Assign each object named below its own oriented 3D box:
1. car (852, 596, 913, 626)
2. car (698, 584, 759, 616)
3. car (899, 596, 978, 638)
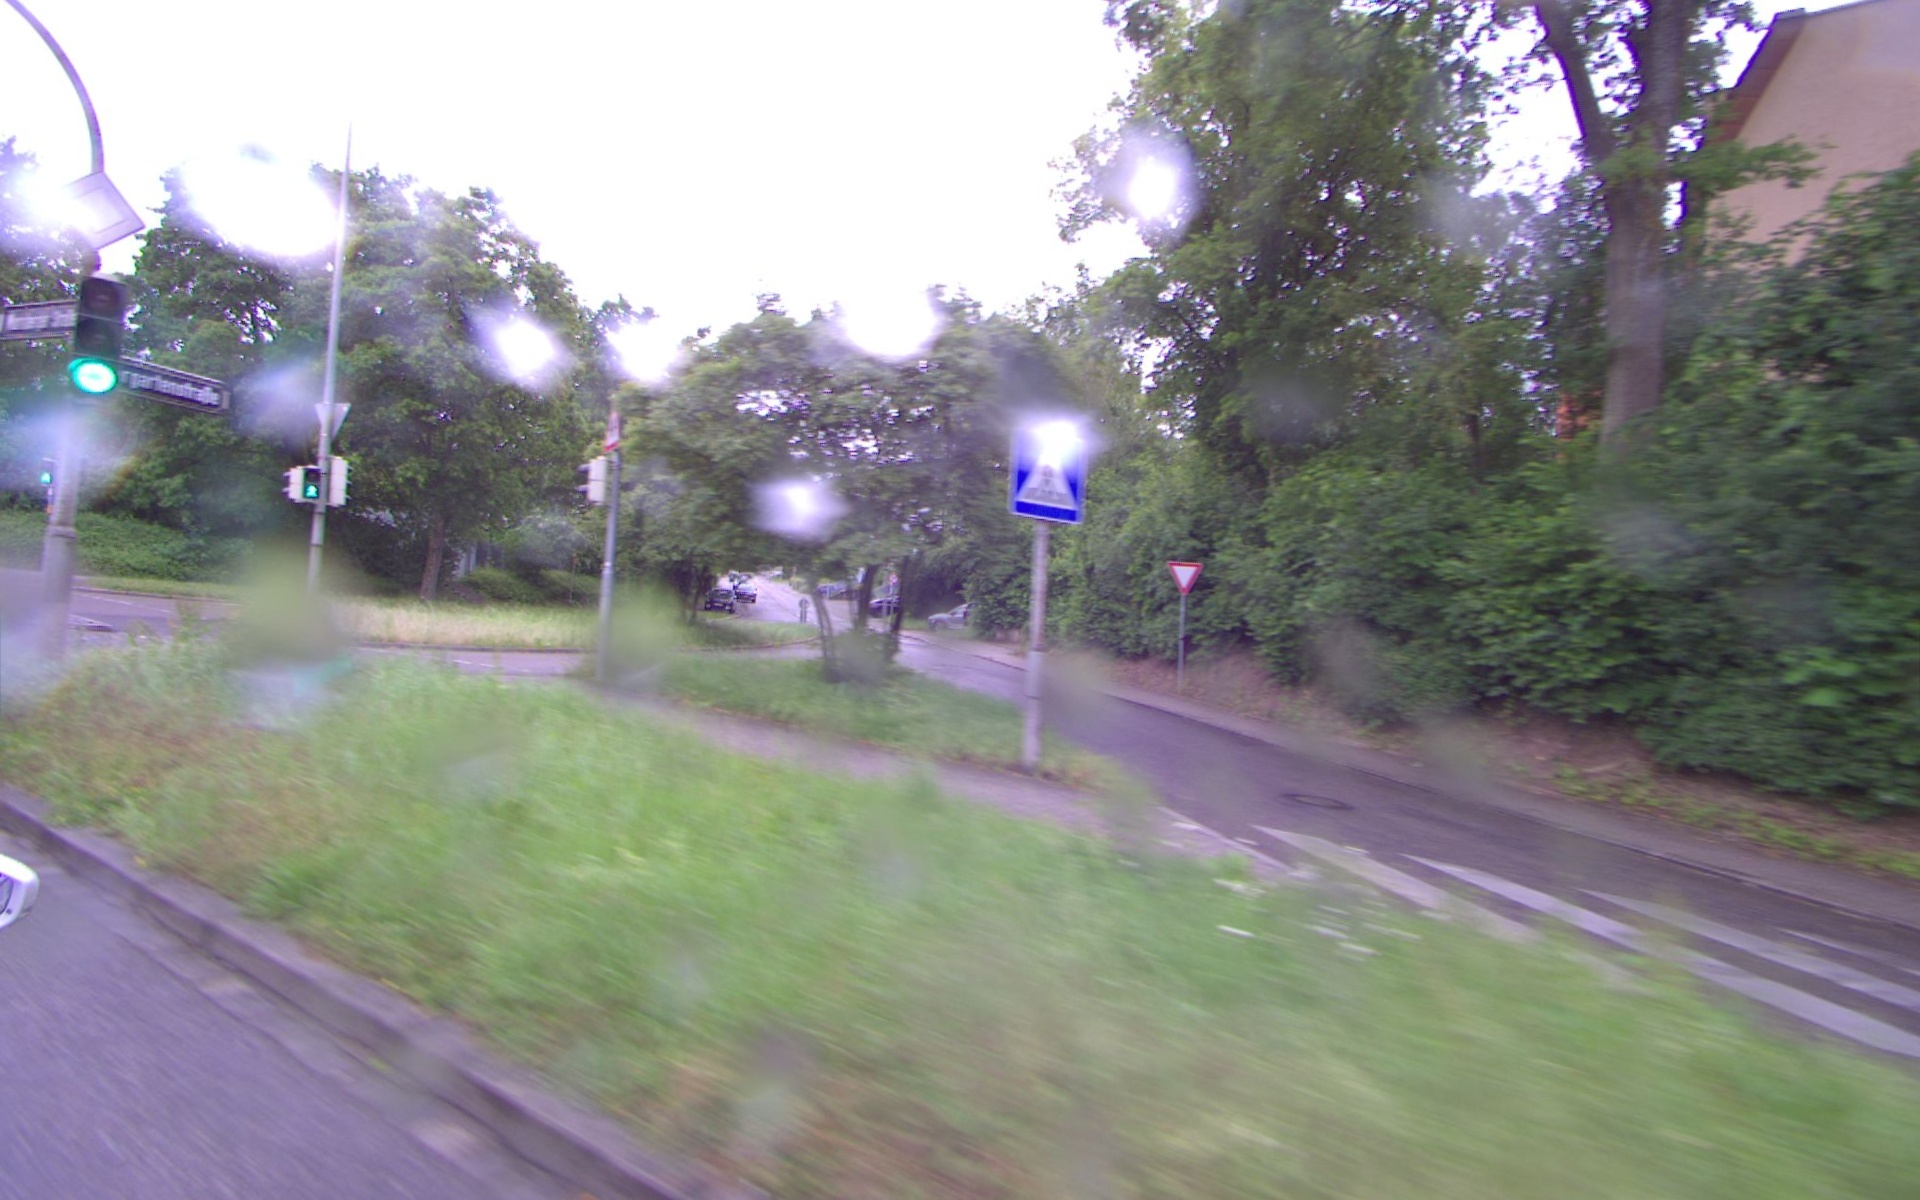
[{"bbox_3d":[-5.577,0.758,71.837,3.936,1.668,1.952,7,0,-14],"label":"car"},{"bbox_3d":[-14.197,0.014,61.919,1.793,1.590,4.002,6,-1,16],"label":"car"},{"bbox_3d":[-1.203,0.954,57.446,3.925,1.922,1.958,6,0,18],"label":"car"}]
